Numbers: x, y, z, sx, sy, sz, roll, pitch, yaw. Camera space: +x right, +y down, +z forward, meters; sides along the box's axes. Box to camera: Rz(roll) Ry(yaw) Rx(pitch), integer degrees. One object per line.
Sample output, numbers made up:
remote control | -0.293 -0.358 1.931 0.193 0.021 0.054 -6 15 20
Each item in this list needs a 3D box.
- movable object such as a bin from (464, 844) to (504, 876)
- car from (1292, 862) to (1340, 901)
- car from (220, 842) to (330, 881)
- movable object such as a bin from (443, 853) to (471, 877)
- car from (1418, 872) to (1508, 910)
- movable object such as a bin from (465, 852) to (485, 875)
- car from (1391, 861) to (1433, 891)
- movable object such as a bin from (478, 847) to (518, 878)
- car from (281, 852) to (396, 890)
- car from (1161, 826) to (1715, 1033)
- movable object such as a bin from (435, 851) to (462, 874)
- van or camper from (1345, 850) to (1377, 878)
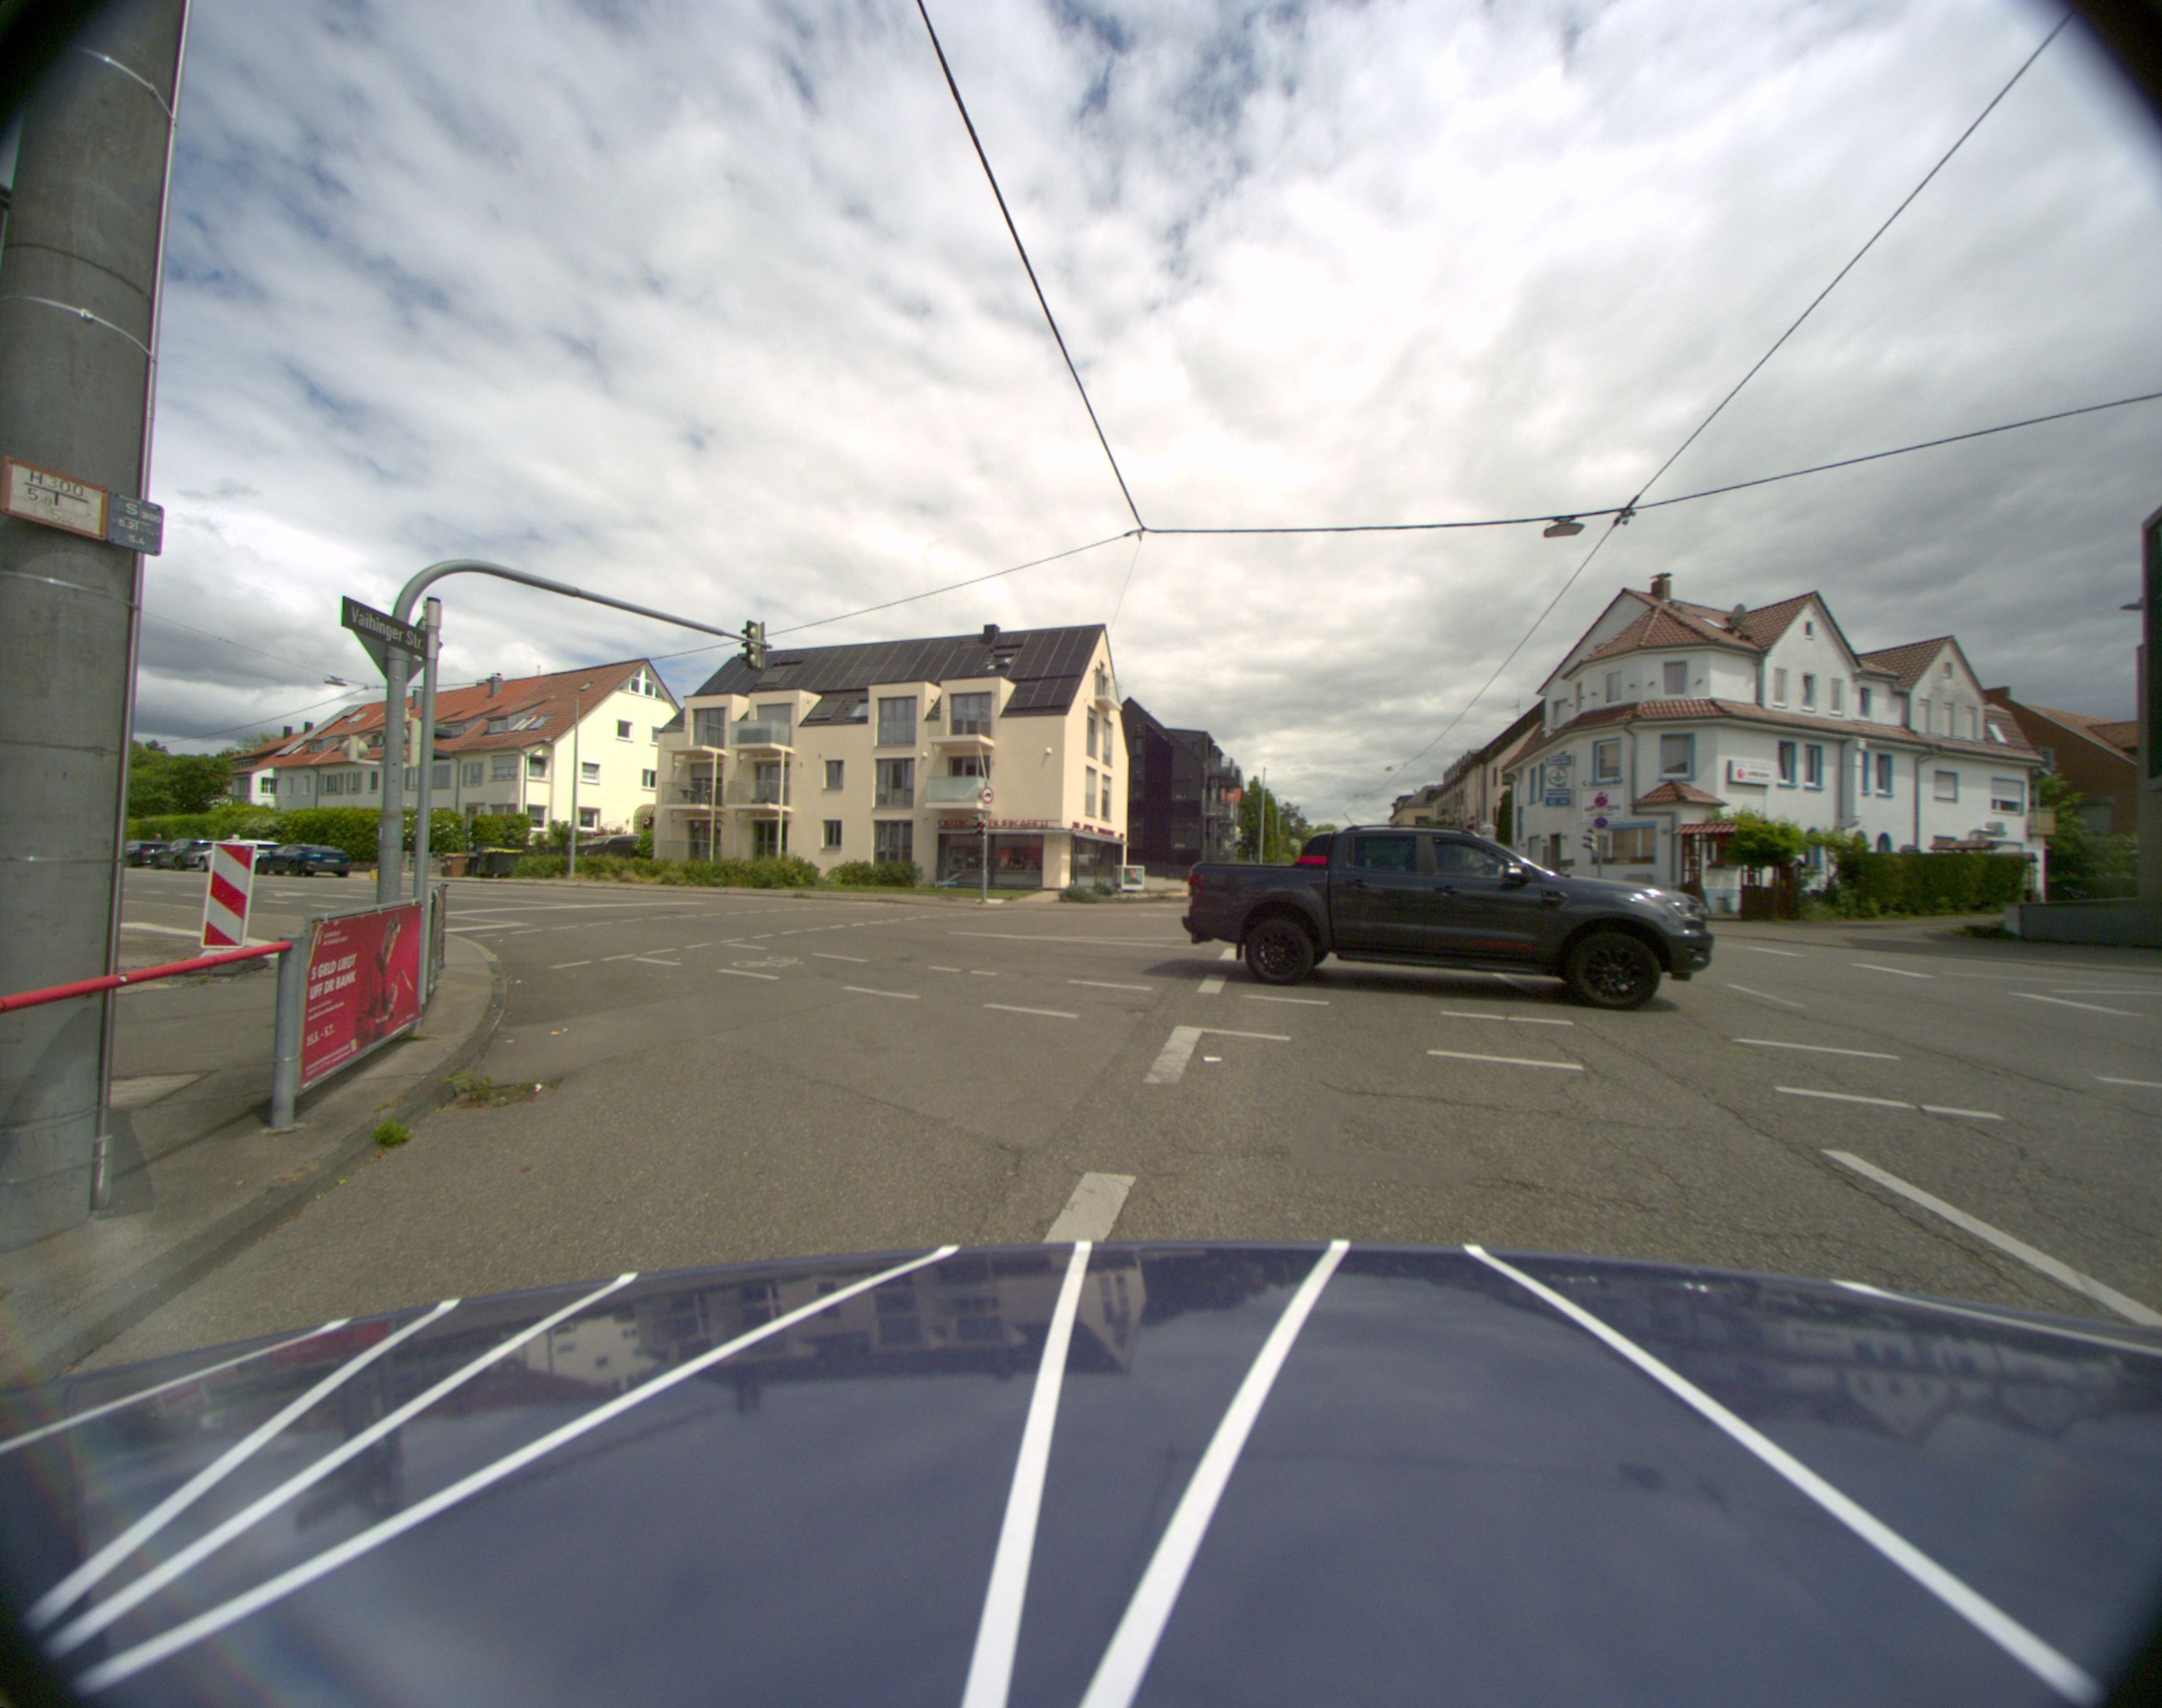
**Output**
movable object such as a bin | -27.529 0.269 35.045 0.978 1.438 1.095 1 0 23
car | 10.879 1.256 35.260 1.996 1.673 4.006 -1 -1 17
car | -36.778 0.339 34.685 4.442 1.623 2.004 1 0 23
movable object such as a bin | -28.701 0.506 34.948 0.690 1.059 0.766 2 0 30
car | 15.010 1.384 29.724 1.994 1.275 4.313 2 0 43
movable object such as a bin | -28.316 0.446 35.502 0.523 1.059 0.655 1 0 -16
car | 21.538 1.445 49.655 1.818 1.801 4.425 2 -1 15
movable object such as a bin | -26.453 0.381 34.480 0.978 1.354 1.095 1 0 23
car | -32.226 0.710 32.998 4.442 1.492 1.823 1 0 20
car | 3.732 0.659 8.808 5.207 1.838 1.892 1 0 25
movable object such as a bin | -29.331 0.383 35.228 0.690 1.059 0.766 2 0 30
van or camper | 28.192 1.030 76.589 2.110 2.571 5.651 4 0 12
